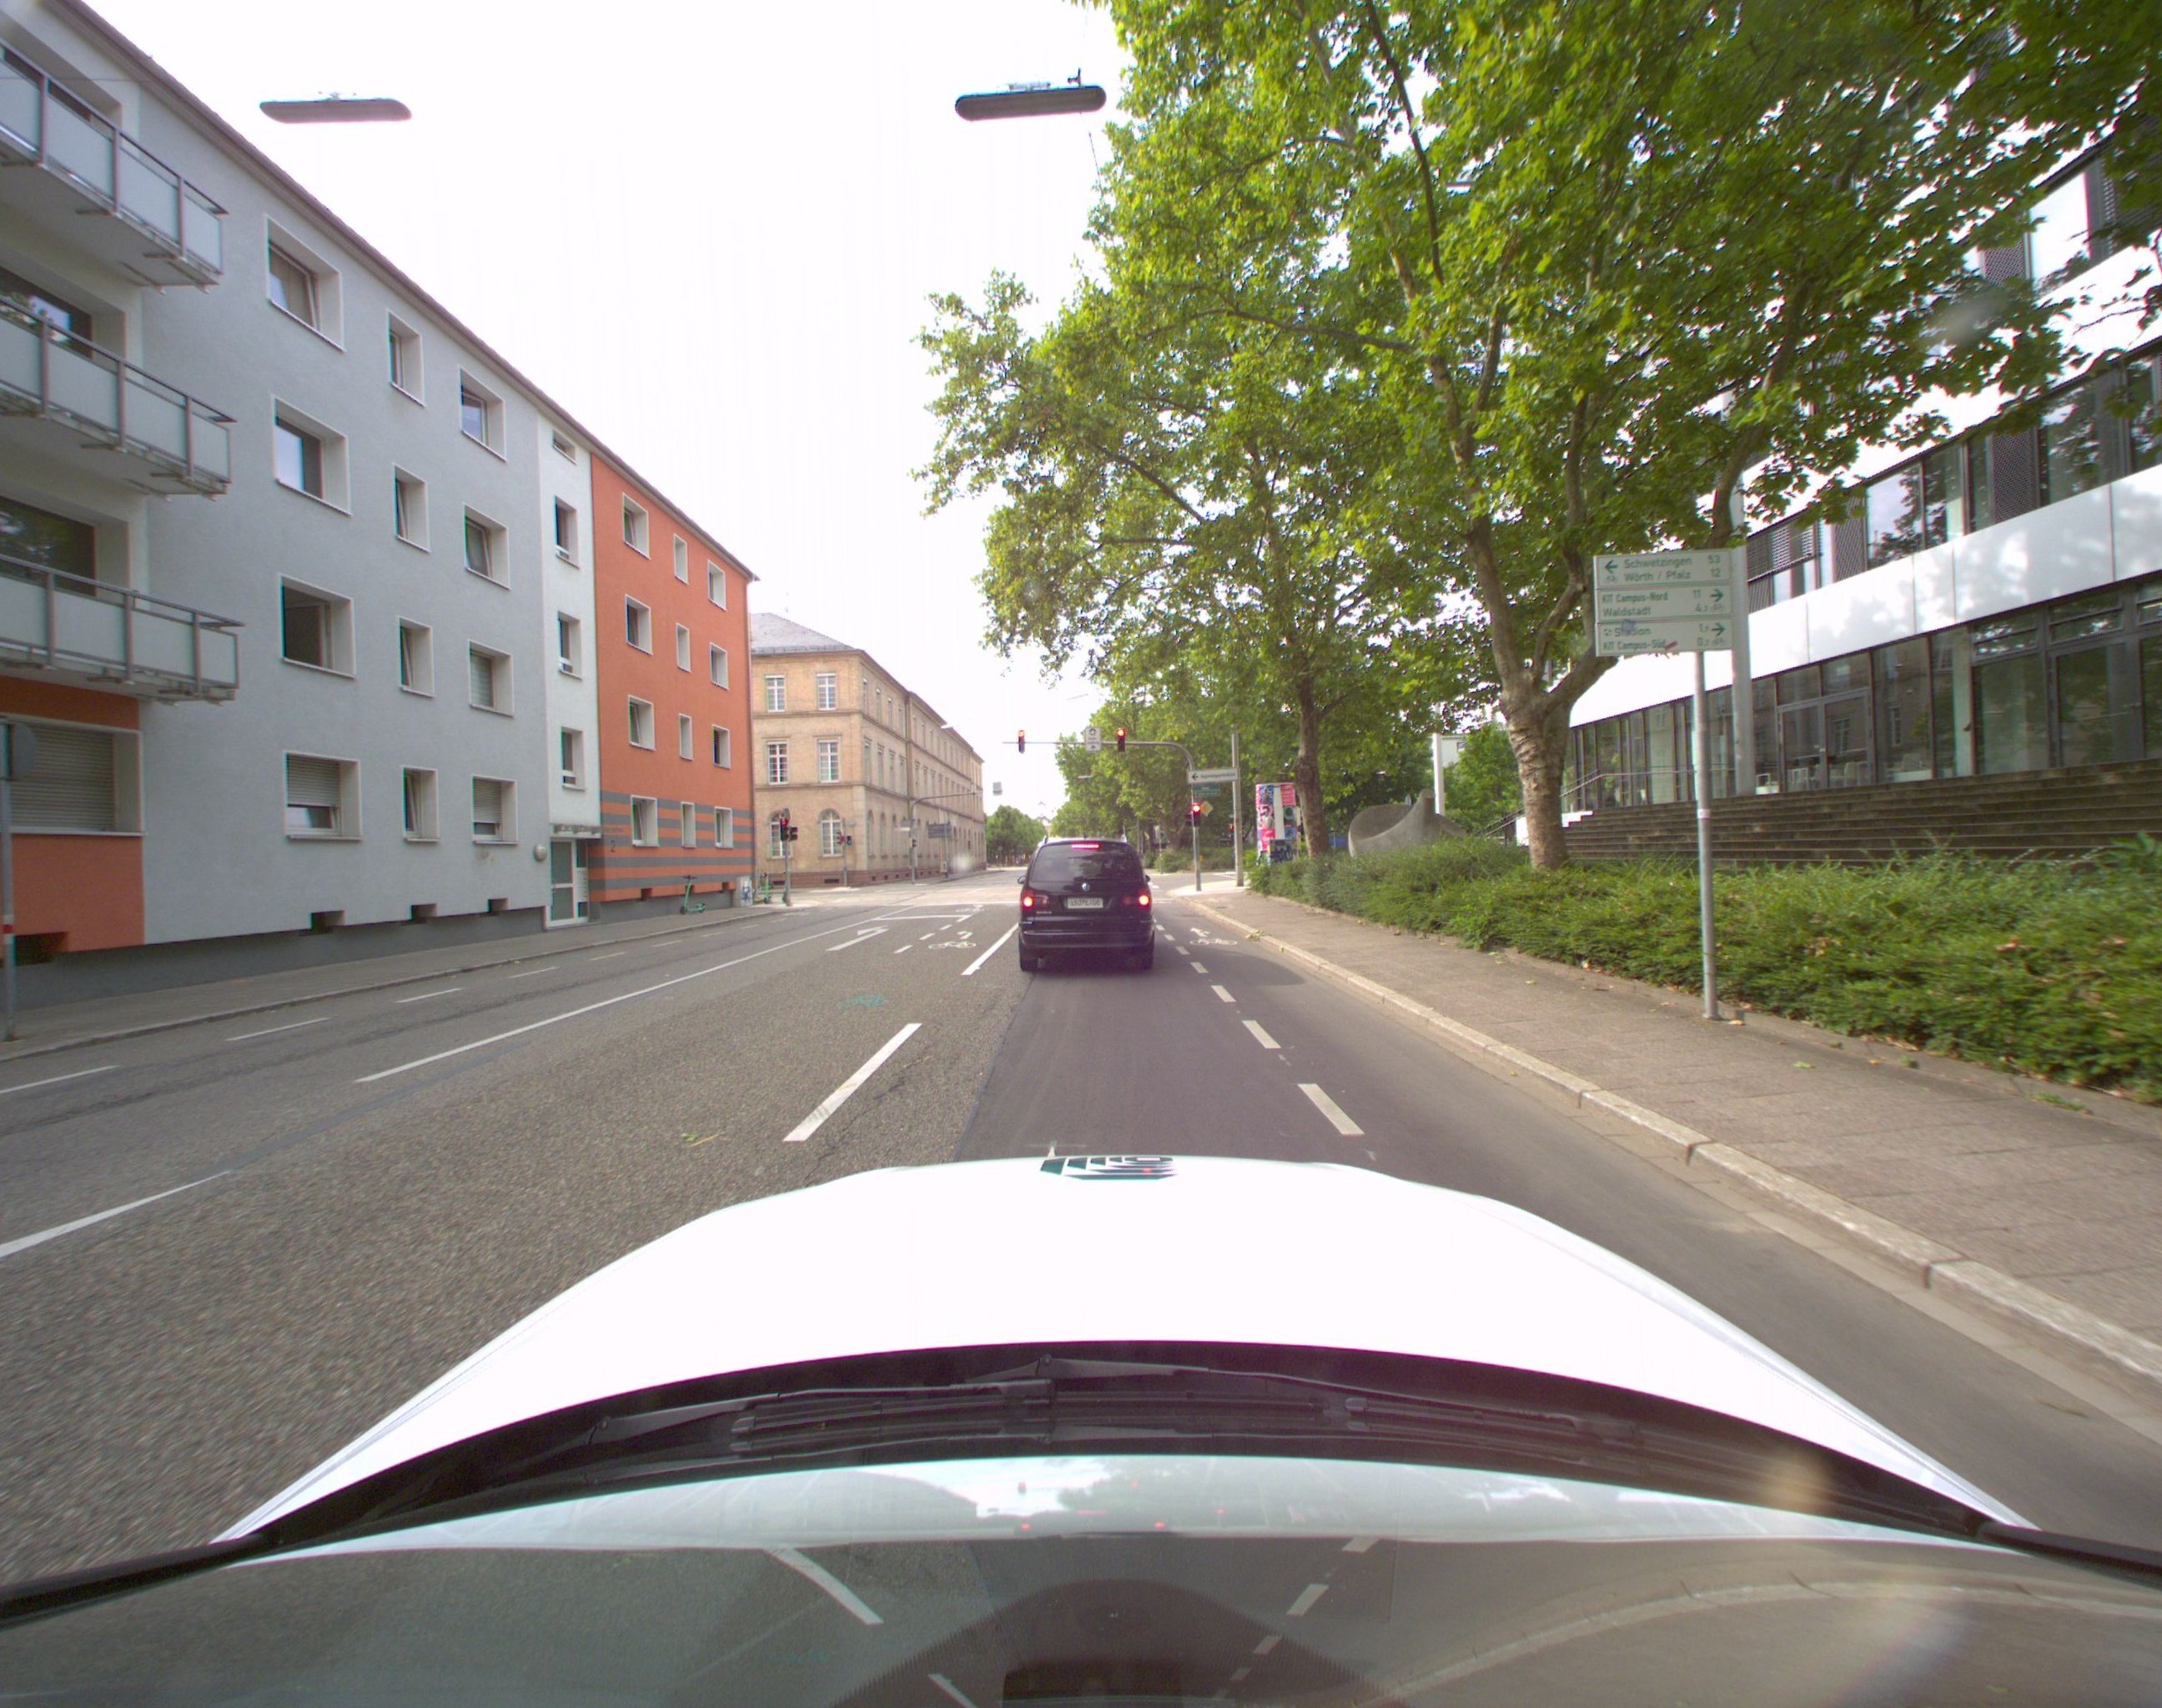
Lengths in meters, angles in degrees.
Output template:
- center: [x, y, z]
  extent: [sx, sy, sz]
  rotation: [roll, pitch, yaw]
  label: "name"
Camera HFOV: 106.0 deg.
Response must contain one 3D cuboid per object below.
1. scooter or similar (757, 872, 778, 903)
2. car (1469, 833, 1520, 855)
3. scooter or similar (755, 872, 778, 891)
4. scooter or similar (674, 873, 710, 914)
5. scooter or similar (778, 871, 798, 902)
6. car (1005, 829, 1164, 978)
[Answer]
- center: [-11.961, 1.261, 31.088]
  extent: [0.377, 1.147, 1.140]
  rotation: [-2, -2, -3]
  label: "scooter or similar"
- center: [34.205, -0.819, 67.502]
  extent: [1.956, 1.651, 4.150]
  rotation: [-2, 0, -2]
  label: "car"
- center: [-17.937, 1.548, 46.454]
  extent: [1.134, 1.049, 0.379]
  rotation: [-2, -2, 0]
  label: "scooter or similar"
- center: [-11.869, 1.190, 24.872]
  extent: [0.376, 1.184, 1.389]
  rotation: [-2, -2, 1]
  label: "scooter or similar"
- center: [-11.366, 1.253, 31.632]
  extent: [0.377, 1.144, 1.140]
  rotation: [-2, -2, -3]
  label: "scooter or similar"
- center: [0.152, 0.591, 12.102]
  extent: [1.866, 1.745, 4.577]
  rotation: [-2, 0, 3]
  label: "car"
